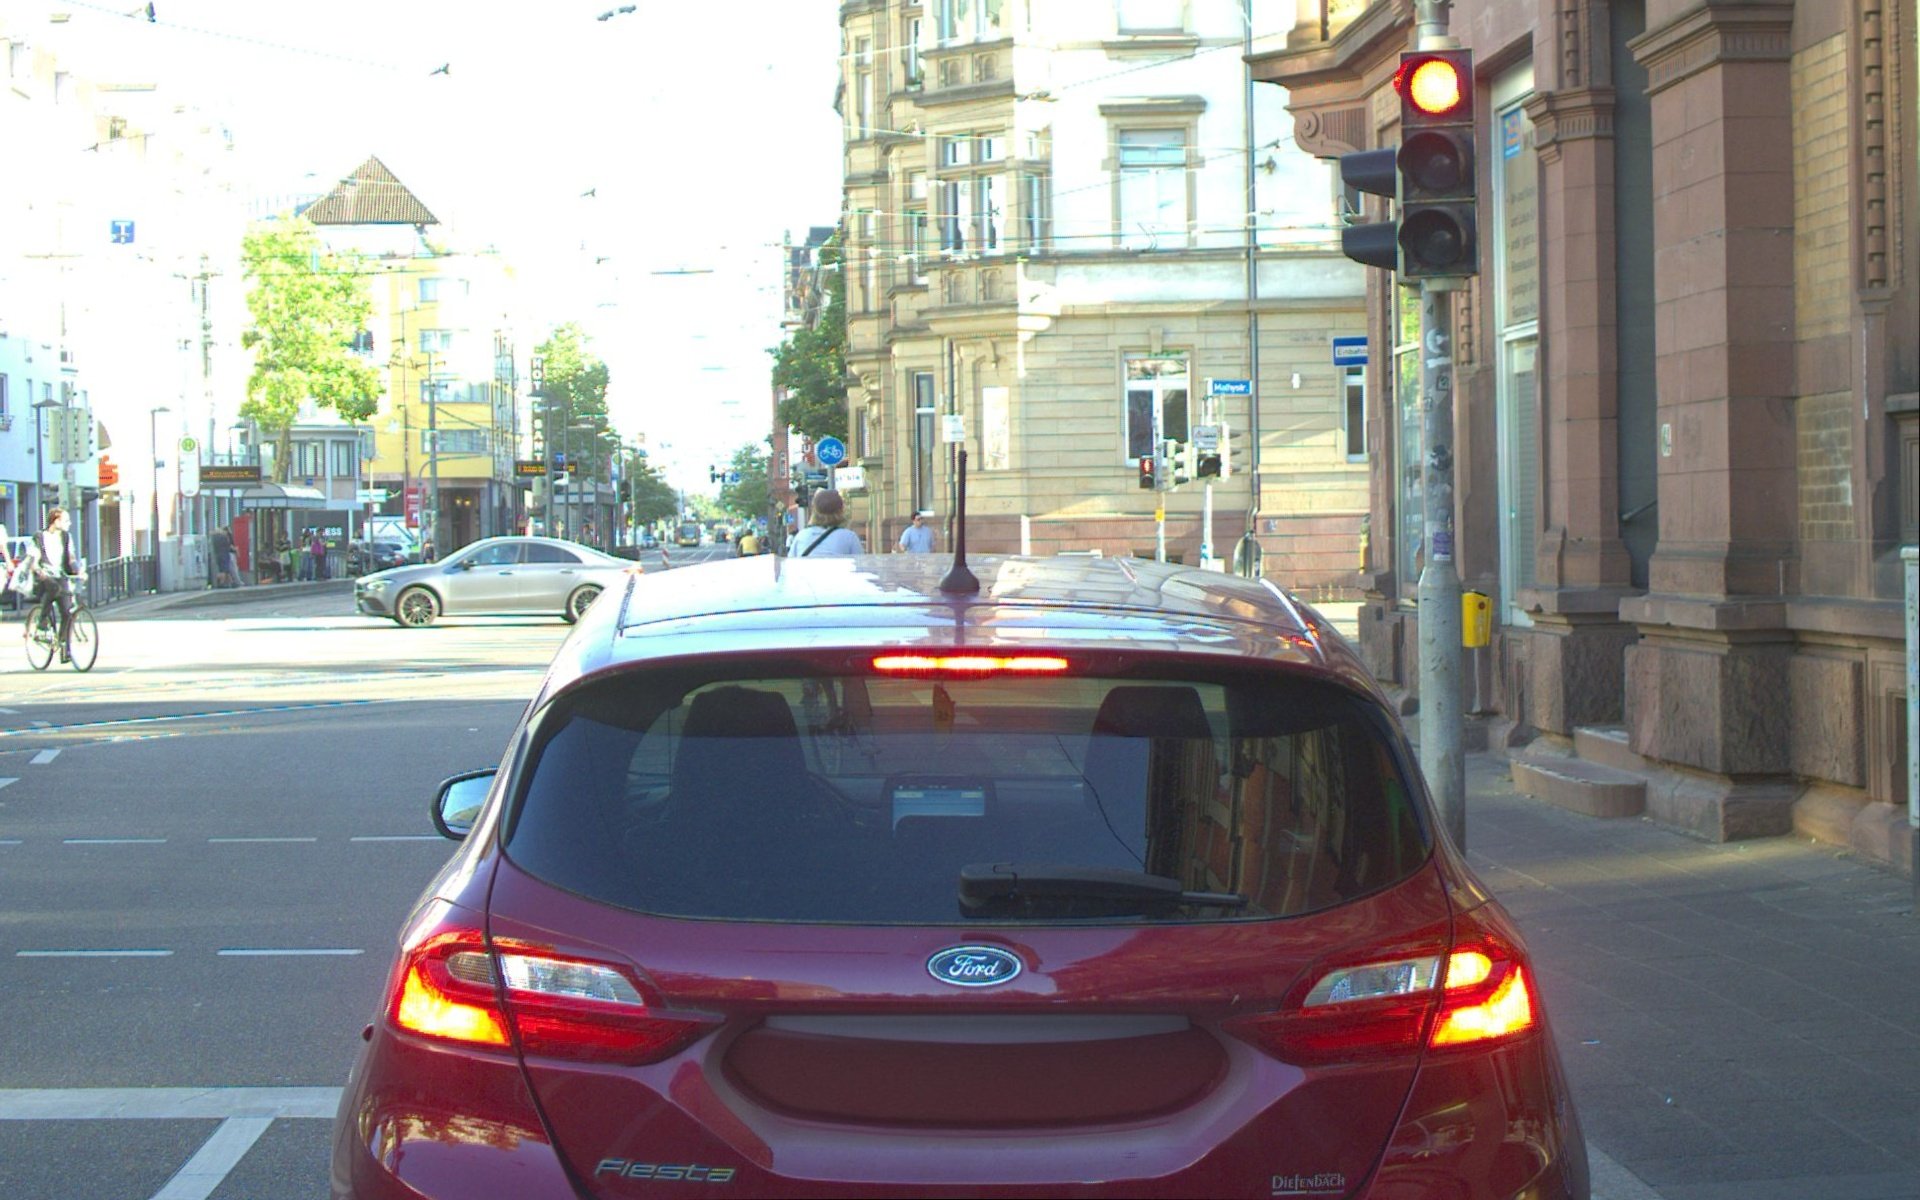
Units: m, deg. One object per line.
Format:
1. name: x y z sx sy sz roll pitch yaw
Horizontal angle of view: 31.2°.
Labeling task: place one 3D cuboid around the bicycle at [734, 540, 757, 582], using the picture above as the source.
1. bicycle: -5.644 -1.026 90.482 0.526 1.085 1.486 -1 1 -1

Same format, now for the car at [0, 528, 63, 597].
1. car: -24.280 -0.976 88.300 1.701 1.712 3.565 -1 1 -4

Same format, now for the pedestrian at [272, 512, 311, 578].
1. pedestrian: -20.387 -1.676 104.852 1.045 2.007 0.959 -1 1 -5

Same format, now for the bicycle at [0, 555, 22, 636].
1. bicycle: -14.000 -0.074 49.570 0.807 1.143 2.011 -1 1 -18

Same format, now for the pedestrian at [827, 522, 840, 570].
1. pedestrian: -4.427 -1.892 120.400 0.413 1.674 0.485 -1 1 -1

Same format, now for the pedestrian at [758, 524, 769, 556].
1. pedestrian: -11.451 -3.502 200.312 0.577 1.880 0.631 -1 1 -3

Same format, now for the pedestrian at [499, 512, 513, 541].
1. pedestrian: -25.990 -4.205 196.719 0.628 1.599 0.579 -1 1 -20

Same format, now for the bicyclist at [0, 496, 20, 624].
1. bicyclist: -13.964 -0.569 49.405 0.807 1.815 0.994 -1 1 -18

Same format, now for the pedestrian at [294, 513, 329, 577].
1. pedestrian: -20.352 -1.724 107.878 0.956 2.007 1.049 -1 1 -5

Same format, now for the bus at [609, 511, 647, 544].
1. bus: -20.936 -4.556 217.101 1.925 2.007 7.138 -1 1 -2

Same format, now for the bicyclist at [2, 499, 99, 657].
1. bicyclist: -10.132 -0.251 38.291 0.807 1.720 0.794 -2 1 -32

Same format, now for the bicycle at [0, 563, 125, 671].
1. bicycle: -10.003 0.175 38.115 0.808 1.143 2.049 -2 1 -33

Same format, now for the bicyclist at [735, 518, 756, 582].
1. bicyclist: -5.643 -1.319 90.297 0.499 1.670 0.545 -1 1 -1

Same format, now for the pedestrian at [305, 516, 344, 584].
1. pedestrian: -19.010 -1.497 102.826 1.045 2.007 0.959 -1 1 -5

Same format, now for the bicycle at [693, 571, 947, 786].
1. bicycle: -0.800 0.434 20.309 0.627 1.173 2.022 1 1 25

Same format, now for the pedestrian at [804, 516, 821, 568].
1. pedestrian: -5.785 -2.269 134.722 0.577 2.007 0.631 -1 1 3

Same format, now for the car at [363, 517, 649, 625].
1. car: -7.353 -0.477 55.578 4.443 1.635 1.704 -1 1 -12

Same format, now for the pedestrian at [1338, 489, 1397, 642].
1. pedestrian: 4.744 -0.407 40.051 0.560 1.749 0.650 -1 1 -1

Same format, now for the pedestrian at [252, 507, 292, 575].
1. pedestrian: -20.537 -1.757 102.692 1.045 2.007 0.959 -1 1 -5

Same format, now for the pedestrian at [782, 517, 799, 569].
1. pedestrian: -6.636 -2.228 134.550 0.577 2.007 0.631 -1 1 3

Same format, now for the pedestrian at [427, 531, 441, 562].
1. pedestrian: -25.327 -2.581 165.603 0.580 1.483 0.526 -1 1 -5

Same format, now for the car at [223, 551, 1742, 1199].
1. car: -0.136 0.665 5.940 1.754 1.461 3.946 1 1 -5

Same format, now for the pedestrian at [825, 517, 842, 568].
1. pedestrian: -4.940 -2.262 134.627 0.577 2.007 0.631 -1 1 3

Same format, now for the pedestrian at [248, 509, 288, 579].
1. pedestrian: -20.228 -1.632 100.513 0.956 2.007 1.049 -1 1 -3

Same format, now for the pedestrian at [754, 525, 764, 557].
1. pedestrian: -11.898 -3.499 203.812 0.577 1.880 0.669 -1 1 -3

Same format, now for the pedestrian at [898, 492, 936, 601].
1. pedestrian: -0.805 -1.004 64.101 0.651 2.007 0.760 -1 1 -4

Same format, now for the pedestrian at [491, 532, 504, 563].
1. pedestrian: -21.868 -2.488 162.593 0.524 1.483 0.583 -1 1 -1

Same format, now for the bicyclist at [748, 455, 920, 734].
1. bicyclist: -0.743 -0.046 20.430 0.764 1.621 0.731 1 1 26
